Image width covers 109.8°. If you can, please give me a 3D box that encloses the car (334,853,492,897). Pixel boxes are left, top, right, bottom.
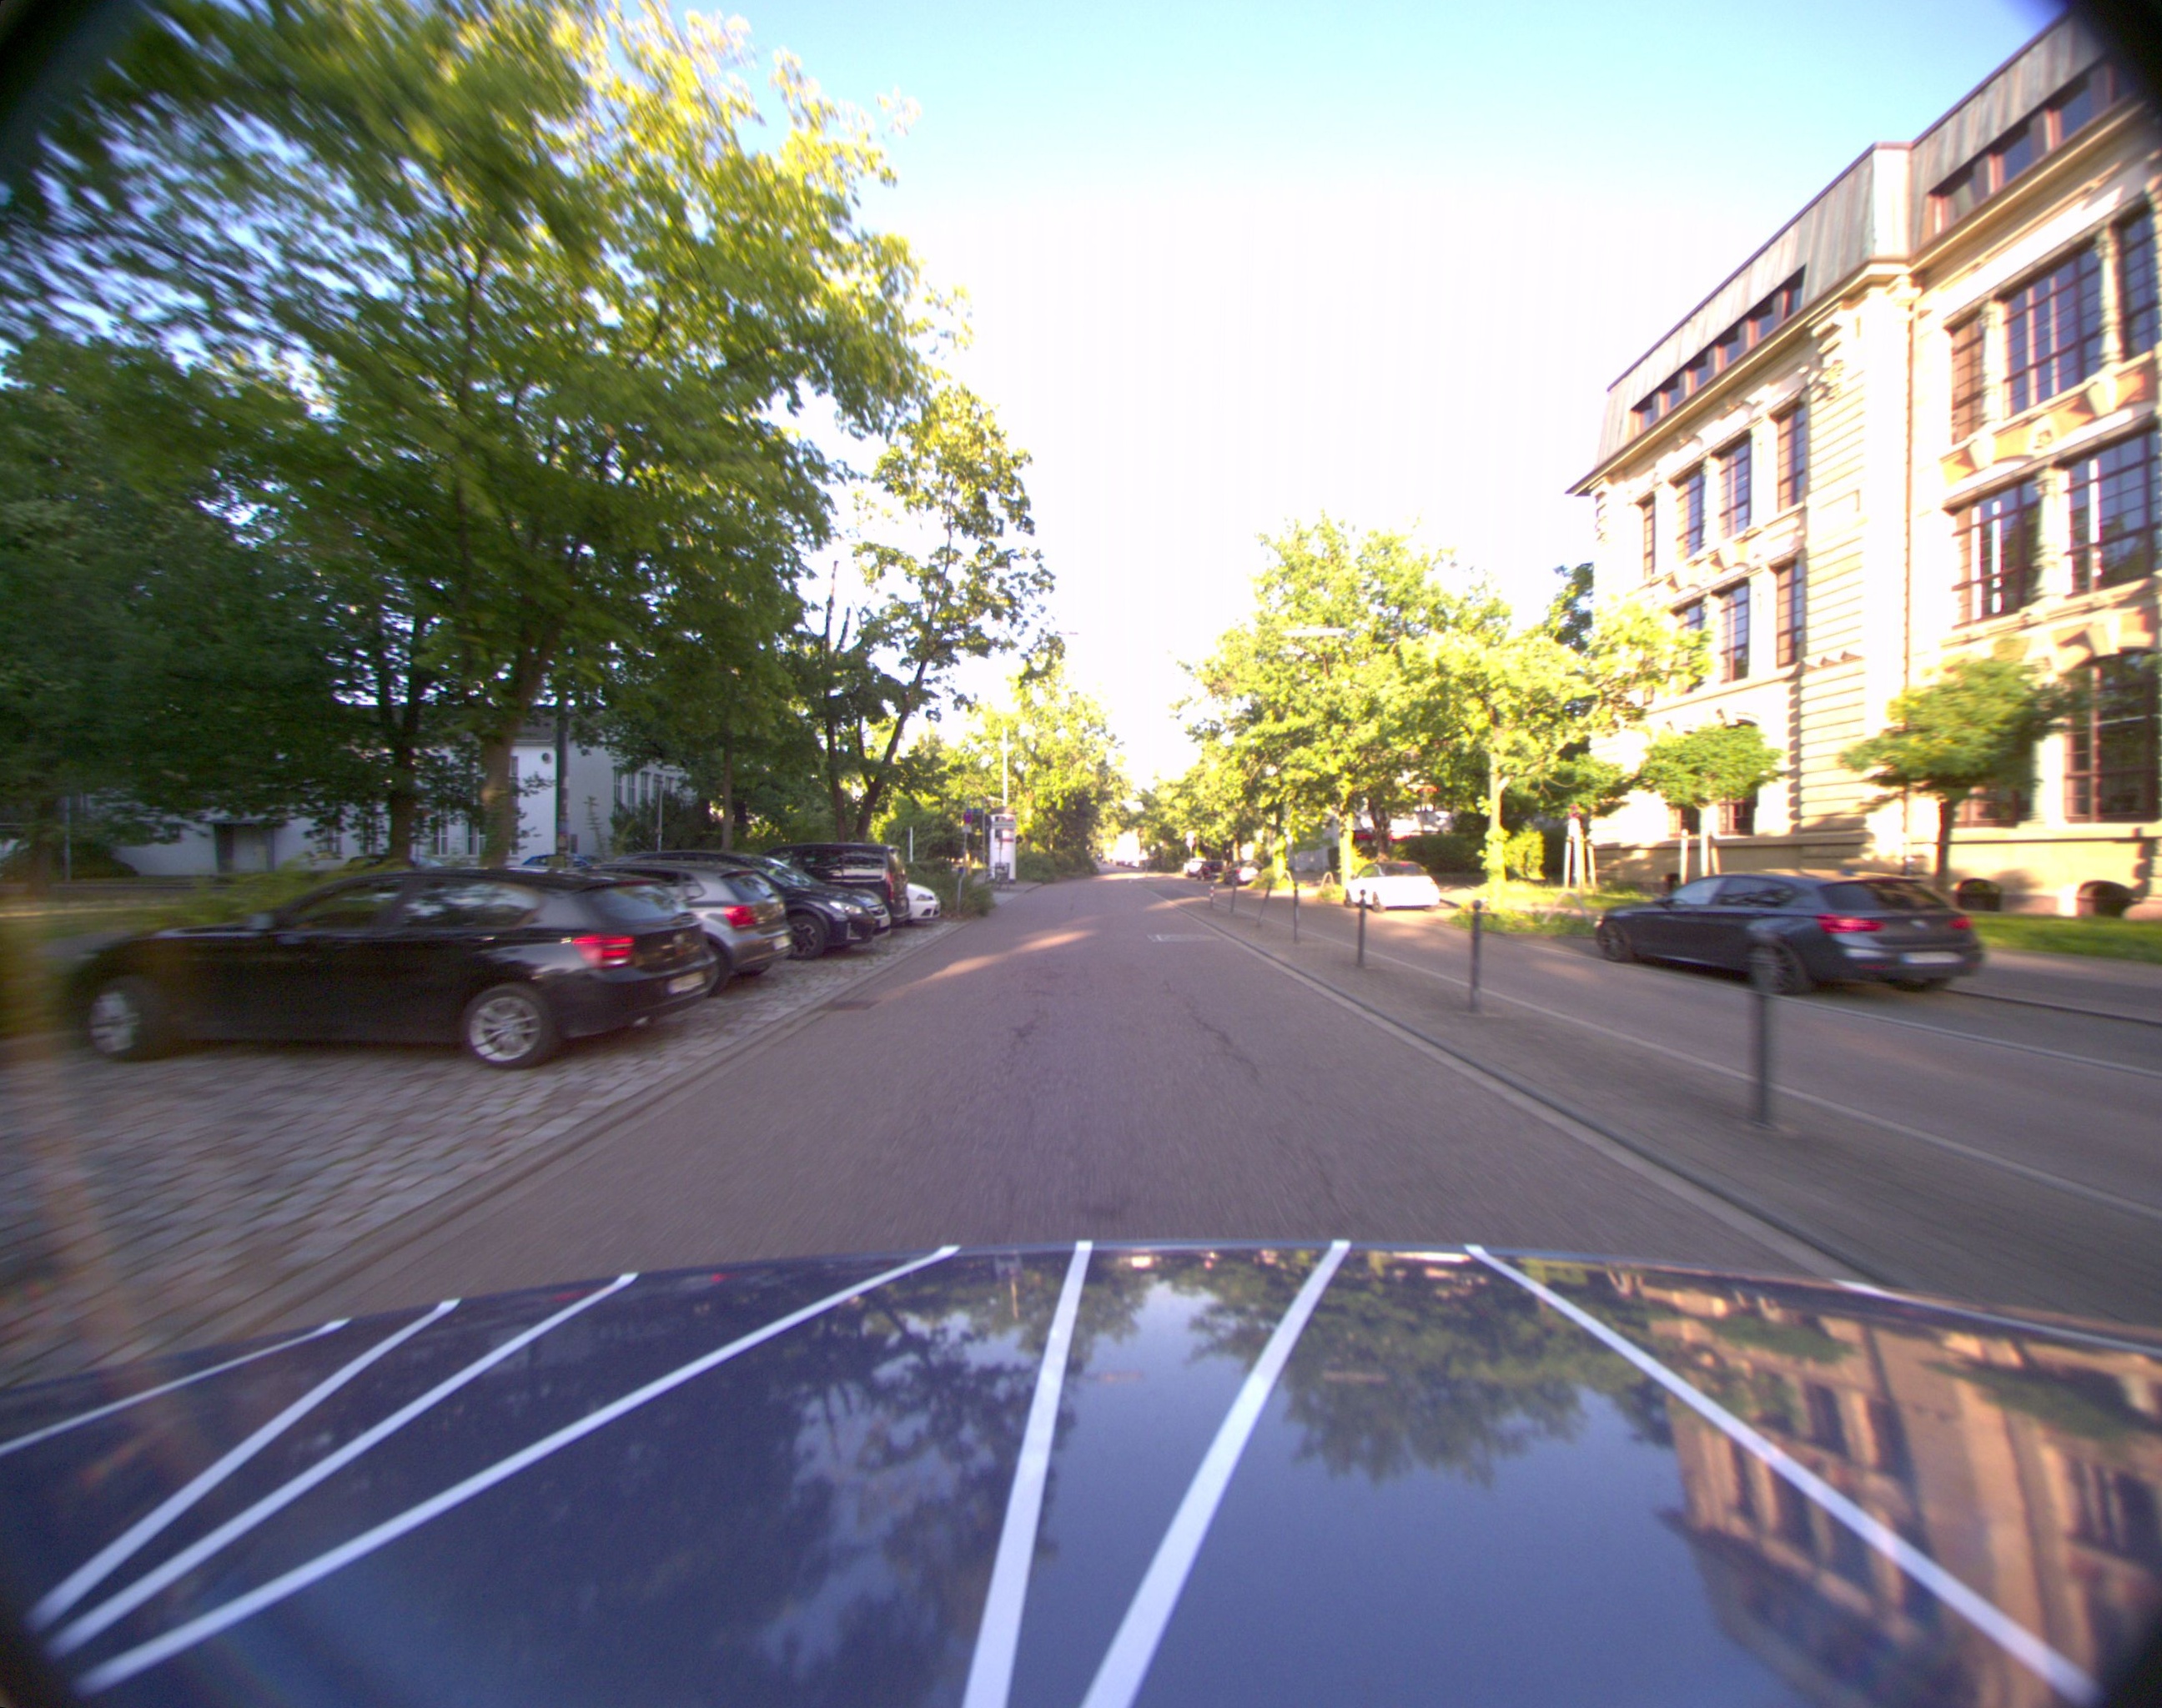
[{"bbox_3d":[-23.225,0.710,26.515,3.997,1.468,1.737,0,0,0],"label":"car"}]

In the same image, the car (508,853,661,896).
[{"bbox_3d":[-17.269,0.694,26.568,4.149,1.433,1.835,0,0,0],"label":"car"}]

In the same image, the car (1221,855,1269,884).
[{"bbox_3d":[9.302,0.852,43.533,1.806,1.502,4.862,-1,0,2],"label":"car"}]

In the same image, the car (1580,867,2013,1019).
[{"bbox_3d":[8.848,0.956,10.059,1.622,1.487,4.377,-1,0,0],"label":"car"}]

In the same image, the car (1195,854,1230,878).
[{"bbox_3d":[9.323,0.831,54.189,1.784,1.606,4.147,-1,0,0],"label":"car"}]

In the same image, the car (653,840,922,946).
[{"bbox_3d":[-5.490,0.711,14.656,4.374,1.770,1.920,2,0,0],"label":"car"}]

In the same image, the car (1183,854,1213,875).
[{"bbox_3d":[9.564,0.842,62.364,1.808,1.606,4.147,0,0,0],"label":"car"}]

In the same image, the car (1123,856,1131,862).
[{"bbox_3d":[11.105,1.234,184.634,1.776,1.559,4.109,-1,0,1],"label":"car"}]

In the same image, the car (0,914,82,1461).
[{"bbox_3d":[-5.533,0.880,1.348,4.939,1.545,1.916,2,0,0],"label":"car"}]

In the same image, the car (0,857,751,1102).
[{"bbox_3d":[-5.300,0.863,6.140,4.374,1.528,1.920,2,0,0],"label":"car"}]

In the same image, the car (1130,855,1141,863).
[{"bbox_3d":[10.440,0.987,145.839,1.776,1.559,4.109,-1,0,1],"label":"car"}]

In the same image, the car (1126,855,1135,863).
[{"bbox_3d":[10.940,1.096,169.497,1.776,1.559,4.109,-1,0,1],"label":"car"}]

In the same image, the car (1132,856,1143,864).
[{"bbox_3d":[10.354,1.052,139.708,1.776,1.474,4.109,-1,0,1],"label":"car"}]

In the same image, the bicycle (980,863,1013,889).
[{"bbox_3d":[-3.895,1.010,35.248,0.492,1.141,2.289,3,0,21],"label":"bicycle"}]

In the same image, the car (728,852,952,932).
[{"bbox_3d":[-5.236,0.808,16.904,4.374,1.545,1.727,2,0,0],"label":"car"}]

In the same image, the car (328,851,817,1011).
[{"bbox_3d":[-5.627,0.800,8.878,4.374,1.528,1.920,2,0,0],"label":"car"}]

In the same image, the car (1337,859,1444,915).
[{"bbox_3d":[9.165,0.914,22.858,1.622,1.487,3.924,-1,0,0],"label":"car"}]

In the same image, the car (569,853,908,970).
[{"bbox_3d":[-5.125,0.826,11.827,4.374,1.545,1.876,2,0,0],"label":"car"}]
